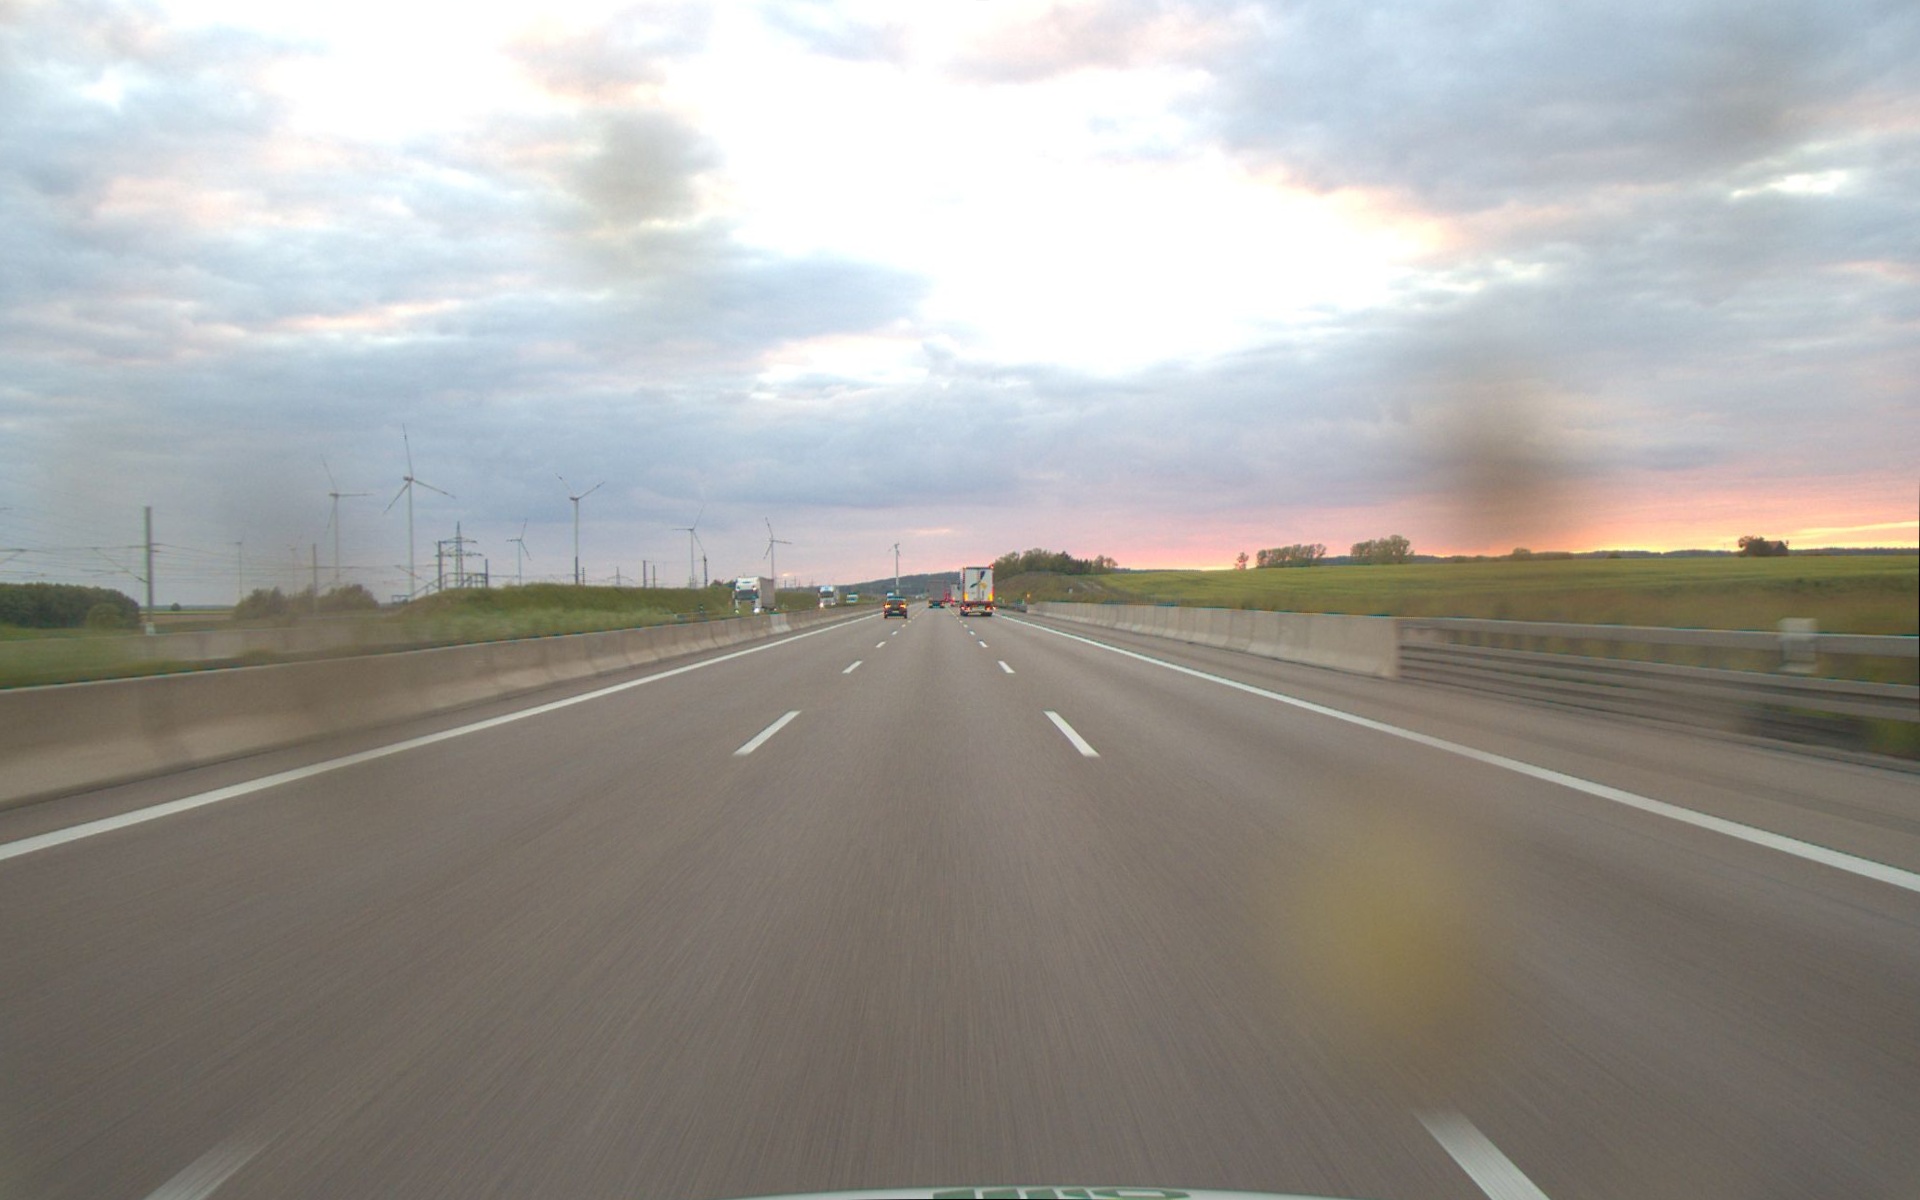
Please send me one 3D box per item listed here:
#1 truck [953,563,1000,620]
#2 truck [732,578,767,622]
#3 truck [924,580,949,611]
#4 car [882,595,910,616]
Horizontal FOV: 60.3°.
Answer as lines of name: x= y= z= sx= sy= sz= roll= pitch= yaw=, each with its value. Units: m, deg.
truck: x=1.361 y=-0.717 z=141.141 sx=3.601 sy=4.644 sz=10.979 roll=-2 pitch=0 yaw=-1
truck: x=-21.723 y=0.004 z=171.084 sx=2.760 sy=4.428 sz=6.738 roll=0 pitch=0 yaw=-1
truck: x=-3.615 y=-0.681 z=252.562 sx=3.574 sy=4.491 sz=8.633 roll=-2 pitch=0 yaw=-1
car: x=-4.816 y=0.428 z=124.251 sx=1.947 sy=1.454 sz=3.999 roll=-2 pitch=1 yaw=-1
